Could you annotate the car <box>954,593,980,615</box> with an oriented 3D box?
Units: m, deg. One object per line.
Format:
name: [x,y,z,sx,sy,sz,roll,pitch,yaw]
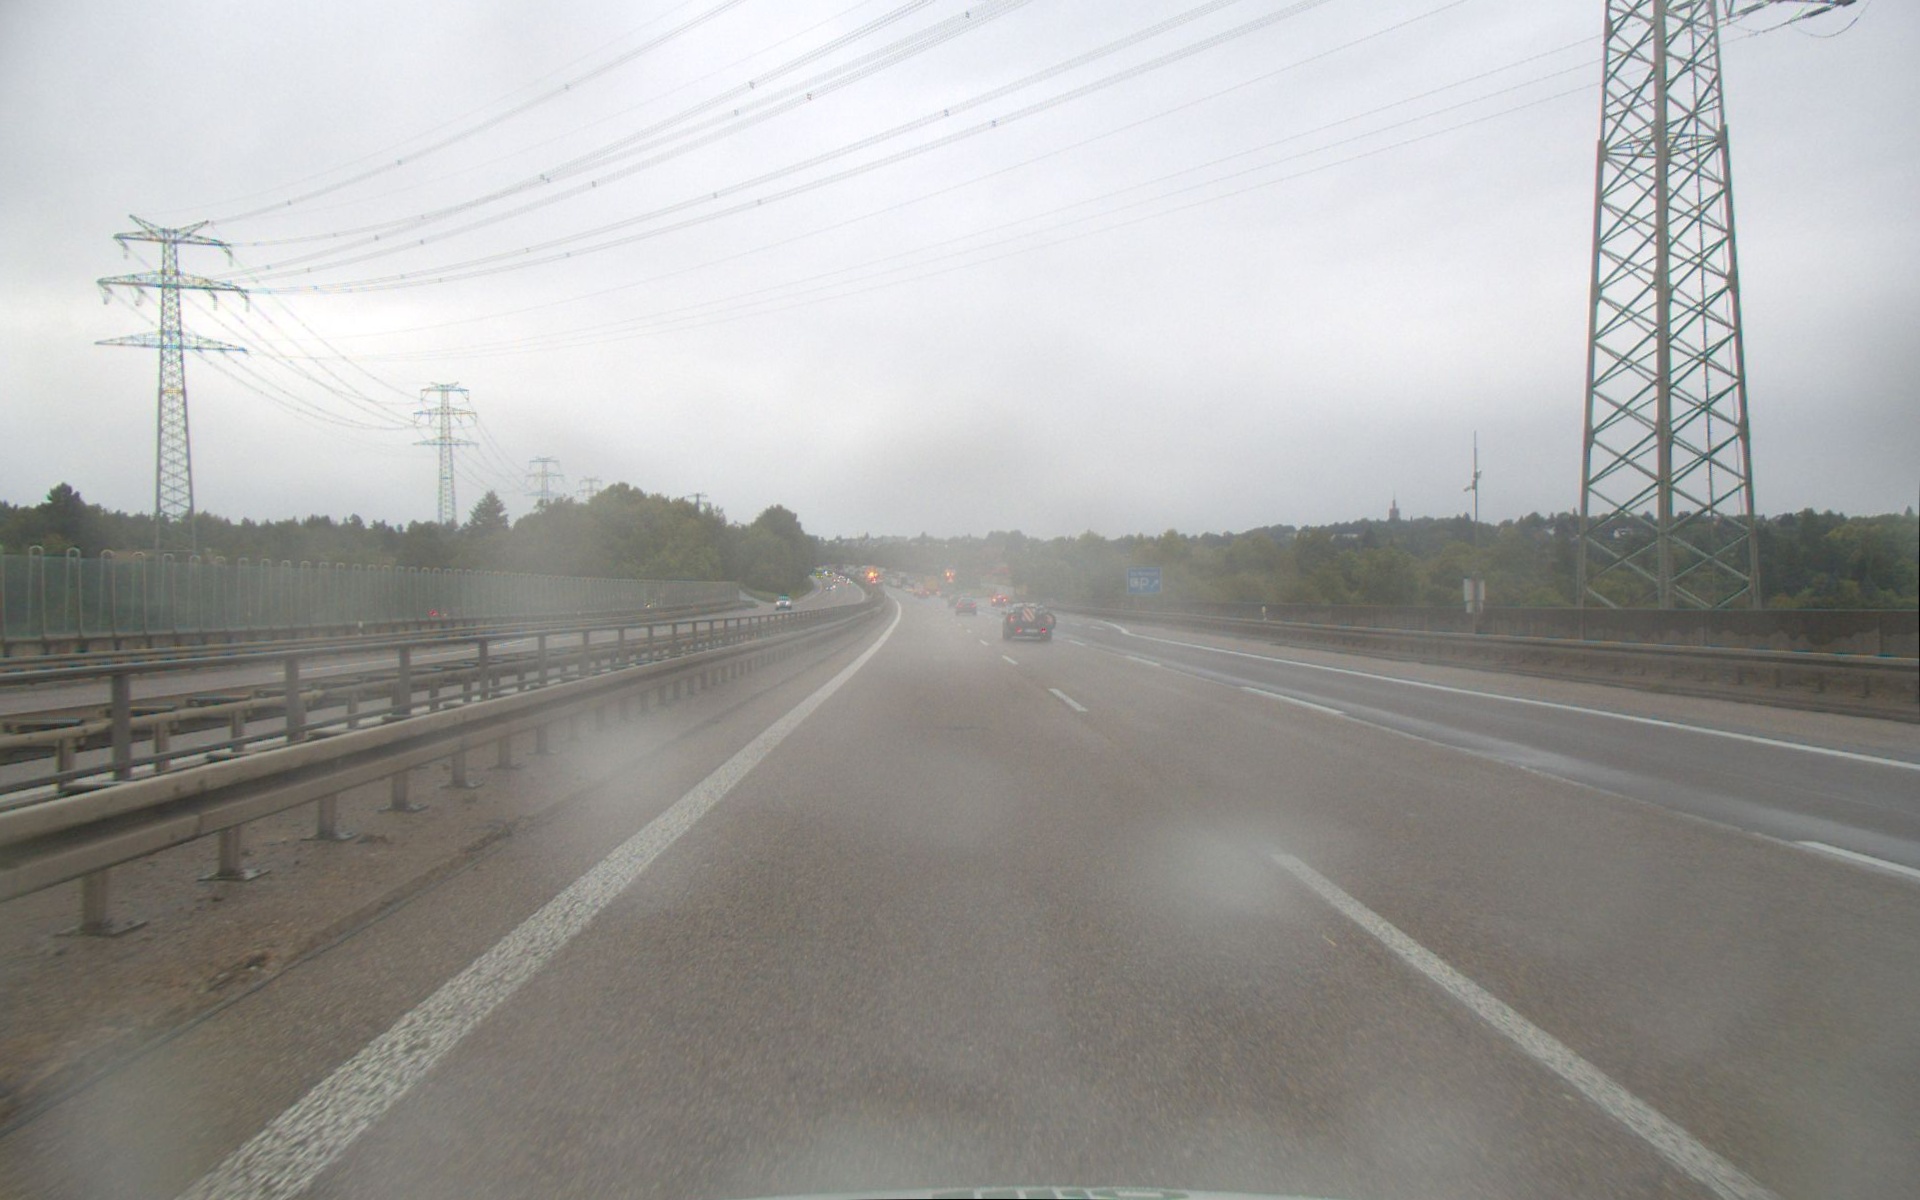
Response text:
car: [0.577,0.357,143.604,1.954,1.791,3.997,-1,1,-4]

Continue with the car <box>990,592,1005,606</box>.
car: [4.885,-0.158,214.209,1.882,1.739,4.002,-1,1,2]

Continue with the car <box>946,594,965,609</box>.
car: [-0.585,0.158,200.082,1.954,1.657,3.997,-1,1,-4]

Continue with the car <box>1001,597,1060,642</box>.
car: [2.755,0.727,65.502,2.016,1.700,5.521,0,0,-1]

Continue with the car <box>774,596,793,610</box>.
car: [-22.198,0.399,208.374,1.953,1.658,4.711,-1,0,-2]
